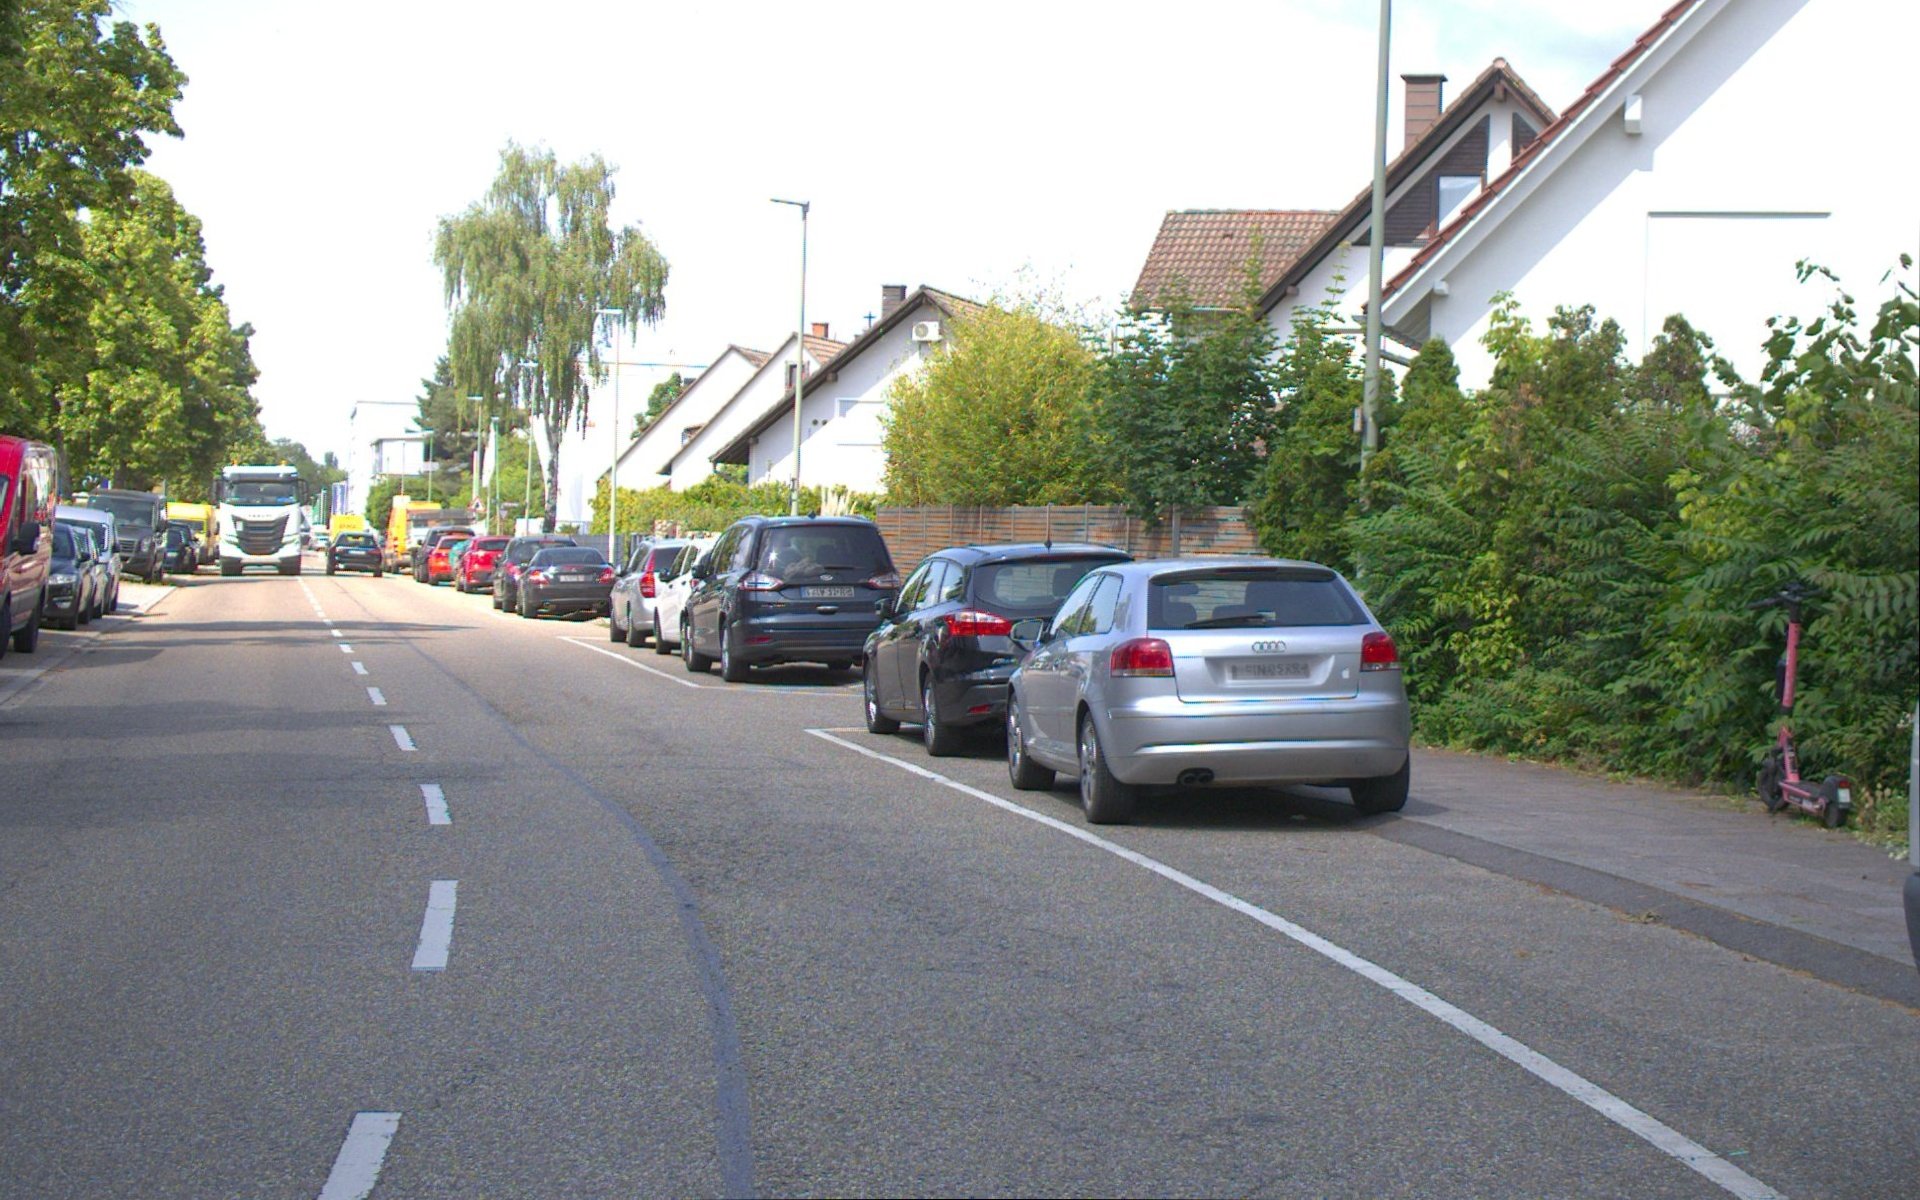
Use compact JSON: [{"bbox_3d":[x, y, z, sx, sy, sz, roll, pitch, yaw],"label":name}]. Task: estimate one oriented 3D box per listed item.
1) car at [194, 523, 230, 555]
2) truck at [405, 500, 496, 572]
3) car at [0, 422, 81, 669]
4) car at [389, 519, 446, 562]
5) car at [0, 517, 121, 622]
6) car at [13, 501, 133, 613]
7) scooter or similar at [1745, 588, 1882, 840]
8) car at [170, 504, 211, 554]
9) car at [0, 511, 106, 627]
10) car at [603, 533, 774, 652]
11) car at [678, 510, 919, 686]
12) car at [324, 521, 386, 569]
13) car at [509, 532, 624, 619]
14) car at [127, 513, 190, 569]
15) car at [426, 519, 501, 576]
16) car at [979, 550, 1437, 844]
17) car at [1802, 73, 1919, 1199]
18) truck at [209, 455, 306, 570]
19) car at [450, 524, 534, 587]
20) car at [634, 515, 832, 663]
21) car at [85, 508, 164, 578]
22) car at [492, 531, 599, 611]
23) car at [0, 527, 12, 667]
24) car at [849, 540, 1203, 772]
[{"bbox_3d":[-41.604,-3.421,191.206,1.786,1.595,4.437,5,0,-13],"label":"car"},{"bbox_3d":[-16.750,-2.125,112.814,2.567,2.252,6.537,1,1,-12],"label":"truck"},{"bbox_3d":[-11.059,-0.712,37.638,2.063,2.492,5.842,5,1,-9],"label":"car"},{"bbox_3d":[-20.313,-2.241,128.697,1.794,1.518,4.533,1,1,-13],"label":"car"},{"bbox_3d":[-14.263,-0.509,54.315,1.786,1.452,4.437,5,0,-13],"label":"car"},{"bbox_3d":[-15.544,-0.774,60.417,1.786,1.740,4.437,5,0,-13],"label":"car"},{"bbox_3d":[4.459,0.575,18.007,0.212,1.247,1.244,1,1,-8],"label":"scooter or similar"},{"bbox_3d":[-35.487,-3.267,158.467,1.786,2.244,4.774,0,1,-13],"label":"car"},{"bbox_3d":[-12.975,-0.479,48.121,1.786,1.452,4.437,5,0,-13],"label":"car"},{"bbox_3d":[-3.802,-0.132,47.572,1.794,1.518,3.975,1,1,-13],"label":"car"},{"bbox_3d":[-1.811,-0.069,36.927,1.794,1.742,4.585,1,1,-13],"label":"car"},{"bbox_3d":[-19.965,-1.819,113.326,1.794,1.518,4.533,1,1,-13],"label":"car"},{"bbox_3d":[-7.427,-0.482,64.633,1.794,1.518,3.975,1,1,-12],"label":"car"},{"bbox_3d":[-25.383,-1.873,108.872,1.786,1.595,4.437,5,0,-13],"label":"car"},{"bbox_3d":[-14.082,-1.504,97.368,1.794,1.518,4.533,1,1,-12],"label":"car"},{"bbox_3d":[1.294,0.473,19.851,1.737,1.452,4.366,1,1,-8],"label":"car"},{"bbox_3d":[3.296,0.145,5.196,2.117,2.432,5.895,1,1,-5],"label":"car"},{"bbox_3d":[-22.978,-2.857,112.886,2.862,3.500,12.358,1,1,-11],"label":"truck"},{"bbox_3d":[-11.976,-1.142,87.771,1.794,1.518,4.533,1,1,-12],"label":"car"},{"bbox_3d":[-2.906,-0.170,43.247,1.794,1.742,3.975,1,1,-14],"label":"car"},{"bbox_3d":[-21.369,-1.456,87.990,1.786,1.595,4.437,5,0,-13],"label":"car"},{"bbox_3d":[-8.356,-0.607,69.073,1.794,1.518,3.975,1,1,-12],"label":"car"},{"bbox_3d":[-9.918,-0.027,31.527,1.786,1.452,4.436,5,0,-9],"label":"car"},{"bbox_3d":[0.380,0.344,25.344,1.737,1.504,4.477,1,1,-10],"label":"car"}]
